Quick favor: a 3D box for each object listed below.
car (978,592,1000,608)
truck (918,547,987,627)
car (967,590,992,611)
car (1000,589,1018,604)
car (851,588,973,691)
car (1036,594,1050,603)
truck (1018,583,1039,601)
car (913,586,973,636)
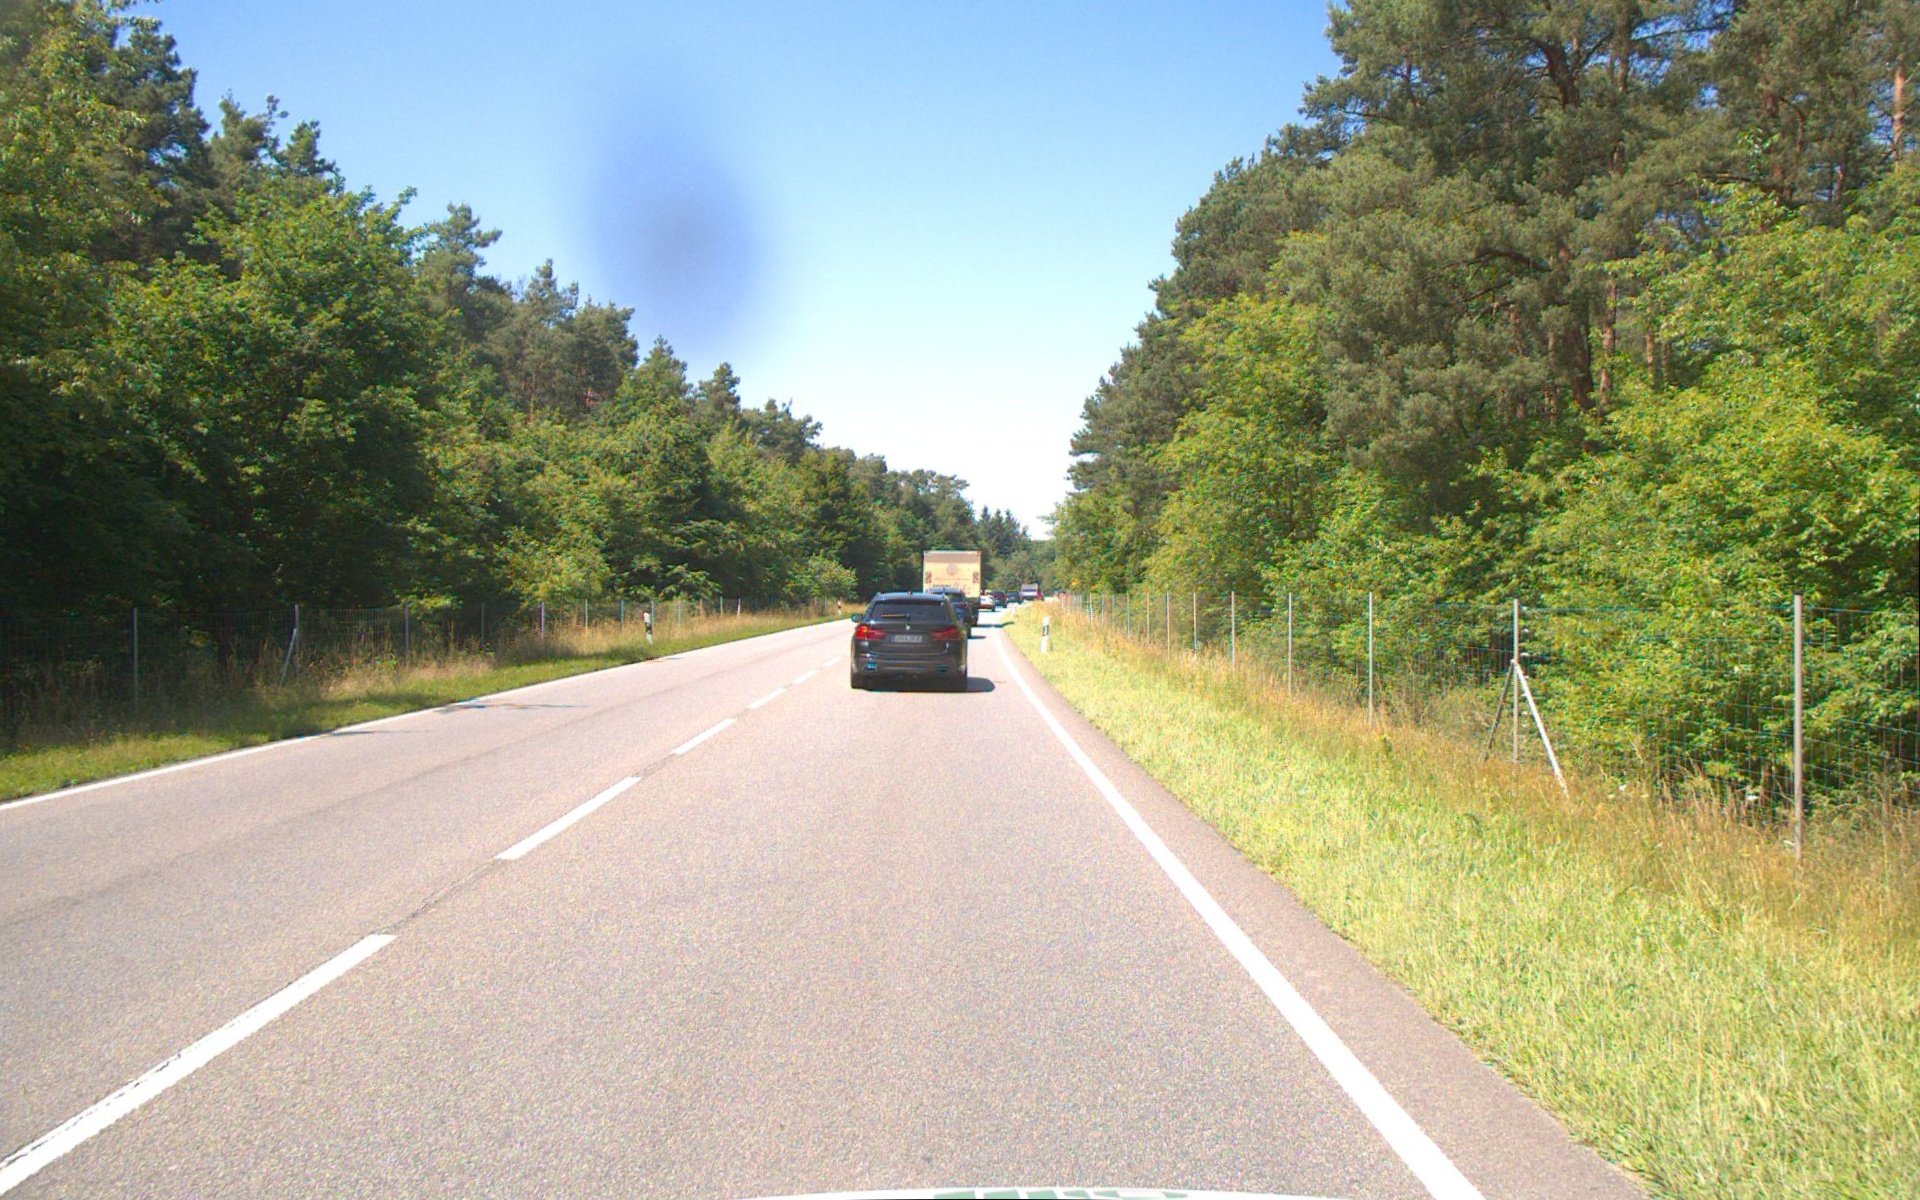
[{"bbox_3d":[2.677,0.017,155.911,1.953,1.445,4.000,1,1,-1],"label":"car"},{"bbox_3d":[-0.411,-0.604,74.423,2.906,3.447,6.435,0,1,-2],"label":"truck"},{"bbox_3d":[1.493,0.020,127.277,1.825,1.633,4.000,0,0,-1],"label":"car"},{"bbox_3d":[5.666,-0.461,191.471,1.952,1.665,4.001,-1,0,3],"label":"car"},{"bbox_3d":[-0.803,0.580,26.723,1.784,1.496,3.998,1,0,-3],"label":"car"},{"bbox_3d":[12.383,-0.231,246.881,1.756,1.378,3.931,0,0,6],"label":"car"},{"bbox_3d":[8.957,-1.099,215.245,2.509,2.240,4.977,-1,1,5],"label":"truck"},{"bbox_3d":[-0.557,0.349,55.325,1.908,1.568,3.999,-1,0,-1],"label":"car"}]
